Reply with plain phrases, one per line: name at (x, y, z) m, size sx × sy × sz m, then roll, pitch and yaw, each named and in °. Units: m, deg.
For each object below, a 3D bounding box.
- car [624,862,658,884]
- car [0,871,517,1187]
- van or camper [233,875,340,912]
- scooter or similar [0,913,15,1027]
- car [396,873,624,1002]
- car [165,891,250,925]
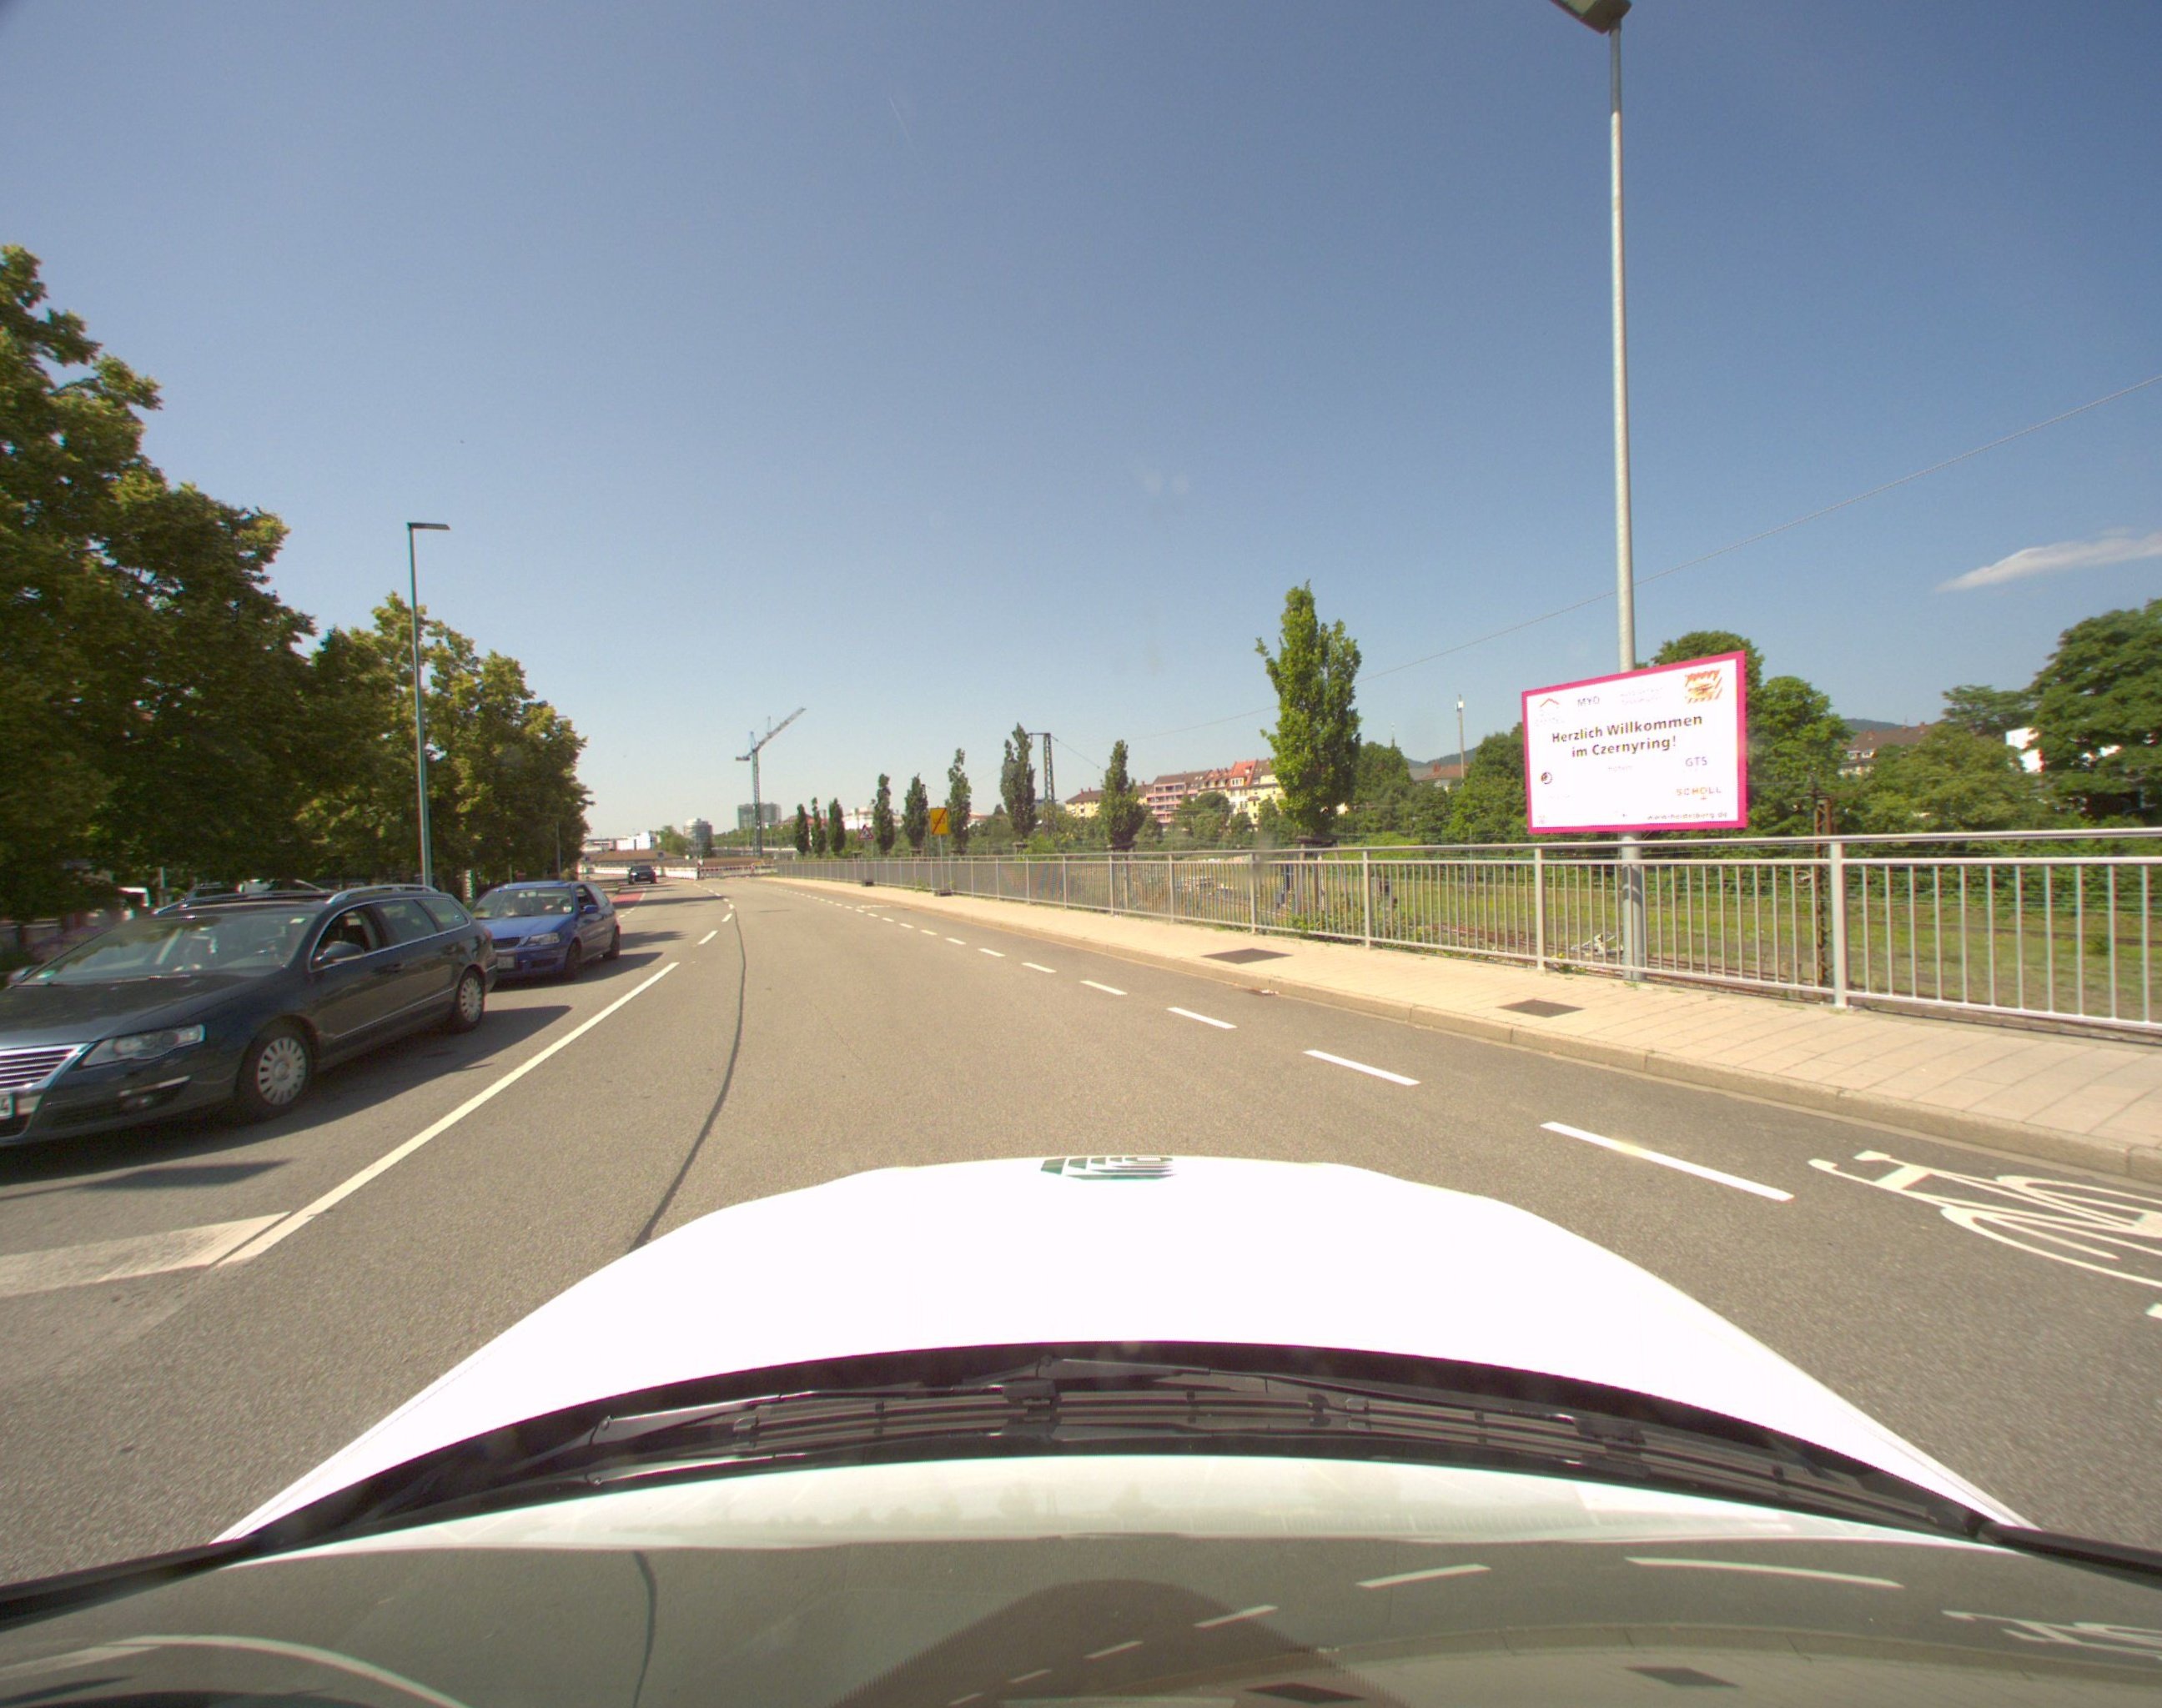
car at (-36.719, 1.540, 67.977) m, size 1.965 × 1.695 × 4.563 m, roll -3°, pitch 1°, yaw -34°
car at (-6.491, 0.996, 6.472) m, size 1.783 × 1.496 × 4.697 m, roll -3°, pitch 1°, yaw -16°
van or camper at (-45.683, 2.224, 46.898) m, size 1.975 × 1.740 × 4.311 m, roll -2°, pitch 1°, yaw 44°
scooter or similar at (-11.538, 1.239, 7.969) m, size 0.471 × 1.184 × 1.362 m, roll -3°, pitch 1°, yaw -8°
car at (-8.160, 1.070, 12.065) m, size 1.661 × 1.380 × 3.974 m, roll -3°, pitch 1°, yaw -19°
car at (-38.323, 2.337, 35.711) m, size 3.949 × 1.285 × 1.619 m, roll -2°, pitch 1°, yaw 30°
